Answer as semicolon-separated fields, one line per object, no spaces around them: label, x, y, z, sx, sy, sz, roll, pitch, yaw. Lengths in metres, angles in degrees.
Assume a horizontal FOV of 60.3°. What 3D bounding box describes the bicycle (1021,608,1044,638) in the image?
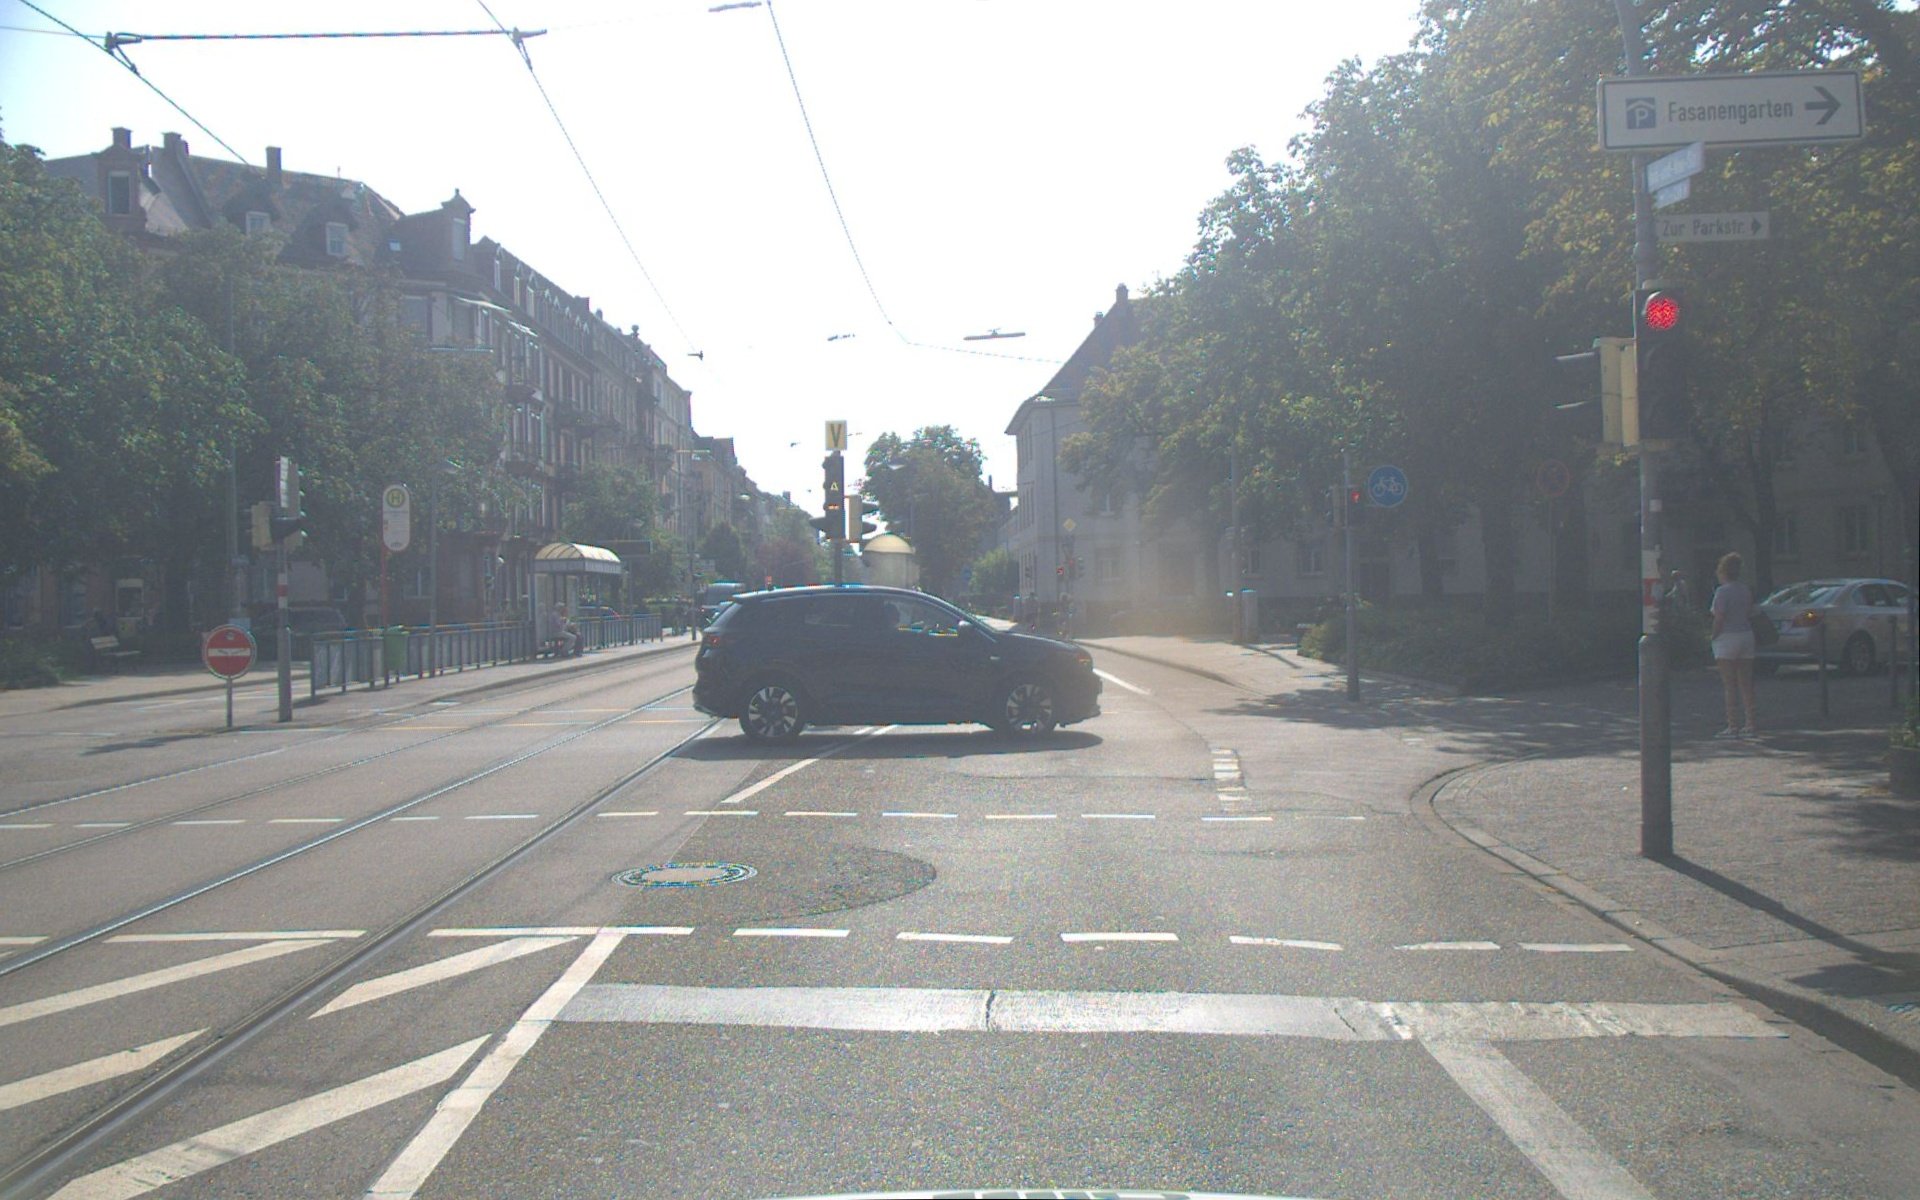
bicycle;2.530;0.809;57.674;0.616;0.995;1.769;-2;0;-3

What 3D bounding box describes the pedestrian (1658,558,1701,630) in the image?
pedestrian;18.063;-0.141;41.551;0.872;1.771;0.776;-1;0;18

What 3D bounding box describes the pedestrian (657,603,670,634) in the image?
pedestrian;-17.459;1.077;97.325;0.736;1.761;0.769;-1;0;-10

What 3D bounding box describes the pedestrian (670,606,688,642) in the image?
pedestrian;-14.109;1.199;83.151;0.734;1.761;0.771;-1;0;1

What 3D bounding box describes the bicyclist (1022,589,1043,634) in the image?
bicyclist;2.525;0.387;57.673;0.616;1.534;0.678;-2;0;-3

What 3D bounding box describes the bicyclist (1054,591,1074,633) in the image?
bicyclist;3.583;0.406;57.154;0.547;1.441;0.871;-2;0;-3

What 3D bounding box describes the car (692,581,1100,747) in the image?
car;-0.715;0.631;17.607;4.135;1.541;1.609;-2;1;-8

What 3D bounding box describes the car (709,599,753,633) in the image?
car;-11.967;0.810;86.522;1.765;1.682;3.642;-1;0;-1

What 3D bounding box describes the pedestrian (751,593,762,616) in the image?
pedestrian;-16.151;0.366;131.250;0.736;1.761;0.769;-1;0;-10

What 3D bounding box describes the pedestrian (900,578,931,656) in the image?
pedestrian;-1.053;0.398;39.206;0.694;1.790;0.534;1;2;-2

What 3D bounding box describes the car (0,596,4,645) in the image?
car;-38.154;0.817;61.964;3.904;1.860;2.001;-1;0;20

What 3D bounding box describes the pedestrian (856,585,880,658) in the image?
pedestrian;-2.292;0.532;41.214;0.521;1.790;0.545;1;2;0

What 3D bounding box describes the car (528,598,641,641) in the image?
car;-15.359;0.777;67.570;4.259;1.596;1.988;-1;0;-21

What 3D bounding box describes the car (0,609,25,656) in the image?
car;-35.162;1.180;57.954;4.234;1.596;2.000;-1;0;23

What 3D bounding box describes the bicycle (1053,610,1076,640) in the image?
bicycle;3.602;0.860;57.140;0.547;0.995;1.855;-2;0;-3

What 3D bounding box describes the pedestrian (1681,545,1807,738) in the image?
pedestrian;7.413;0.380;15.667;0.736;1.761;0.769;-1;0;-10

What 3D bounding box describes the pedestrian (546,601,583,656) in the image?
pedestrian;-10.141;0.721;42.437;0.812;1.382;0.775;-1;0;-6

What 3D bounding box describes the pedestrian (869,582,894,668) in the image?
pedestrian;-1.657;0.521;34.994;0.494;1.790;0.534;1;2;-2

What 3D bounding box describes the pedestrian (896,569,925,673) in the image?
pedestrian;-0.901;0.384;30.310;0.494;1.865;0.534;1;2;-2

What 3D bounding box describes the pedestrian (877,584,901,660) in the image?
pedestrian;-1.707;0.527;39.810;0.532;1.790;0.534;1;2;-2

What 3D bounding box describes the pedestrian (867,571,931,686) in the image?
pedestrian;-0.956;0.434;26.042;0.687;1.755;0.746;2;3;31

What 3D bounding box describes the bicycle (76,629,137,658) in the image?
bicycle;-30.299;1.546;58.761;1.821;0.974;0.546;-2;0;-17

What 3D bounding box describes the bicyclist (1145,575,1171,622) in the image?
bicyclist;8.123;-0.078;67.741;0.965;1.889;0.493;-1;0;12

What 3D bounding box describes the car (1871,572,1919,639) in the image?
car;21.759;0.100;35.413;1.721;1.453;4.135;-2;0;-10

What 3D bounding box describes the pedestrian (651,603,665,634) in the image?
pedestrian;-17.218;1.053;94.350;0.736;1.761;0.769;-1;0;-10

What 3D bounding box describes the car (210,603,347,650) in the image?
car;-25.102;0.958;60.981;4.292;1.596;1.973;-2;0;-38

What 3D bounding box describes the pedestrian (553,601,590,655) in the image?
pedestrian;-10.190;0.723;43.413;0.812;1.382;0.775;-1;0;-6

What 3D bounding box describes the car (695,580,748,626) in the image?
car;-14.634;0.196;101.744;2.298;2.708;5.106;-1;0;2

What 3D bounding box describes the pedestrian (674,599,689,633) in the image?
pedestrian;-14.385;0.827;85.477;0.736;1.761;0.769;-1;0;-10

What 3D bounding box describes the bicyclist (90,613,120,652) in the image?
bicyclist;-30.368;1.144;58.748;0.806;1.351;0.546;-2;0;-17

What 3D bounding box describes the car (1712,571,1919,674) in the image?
car;14.231;0.303;26.207;4.721;1.492;1.851;-1;0;-30
